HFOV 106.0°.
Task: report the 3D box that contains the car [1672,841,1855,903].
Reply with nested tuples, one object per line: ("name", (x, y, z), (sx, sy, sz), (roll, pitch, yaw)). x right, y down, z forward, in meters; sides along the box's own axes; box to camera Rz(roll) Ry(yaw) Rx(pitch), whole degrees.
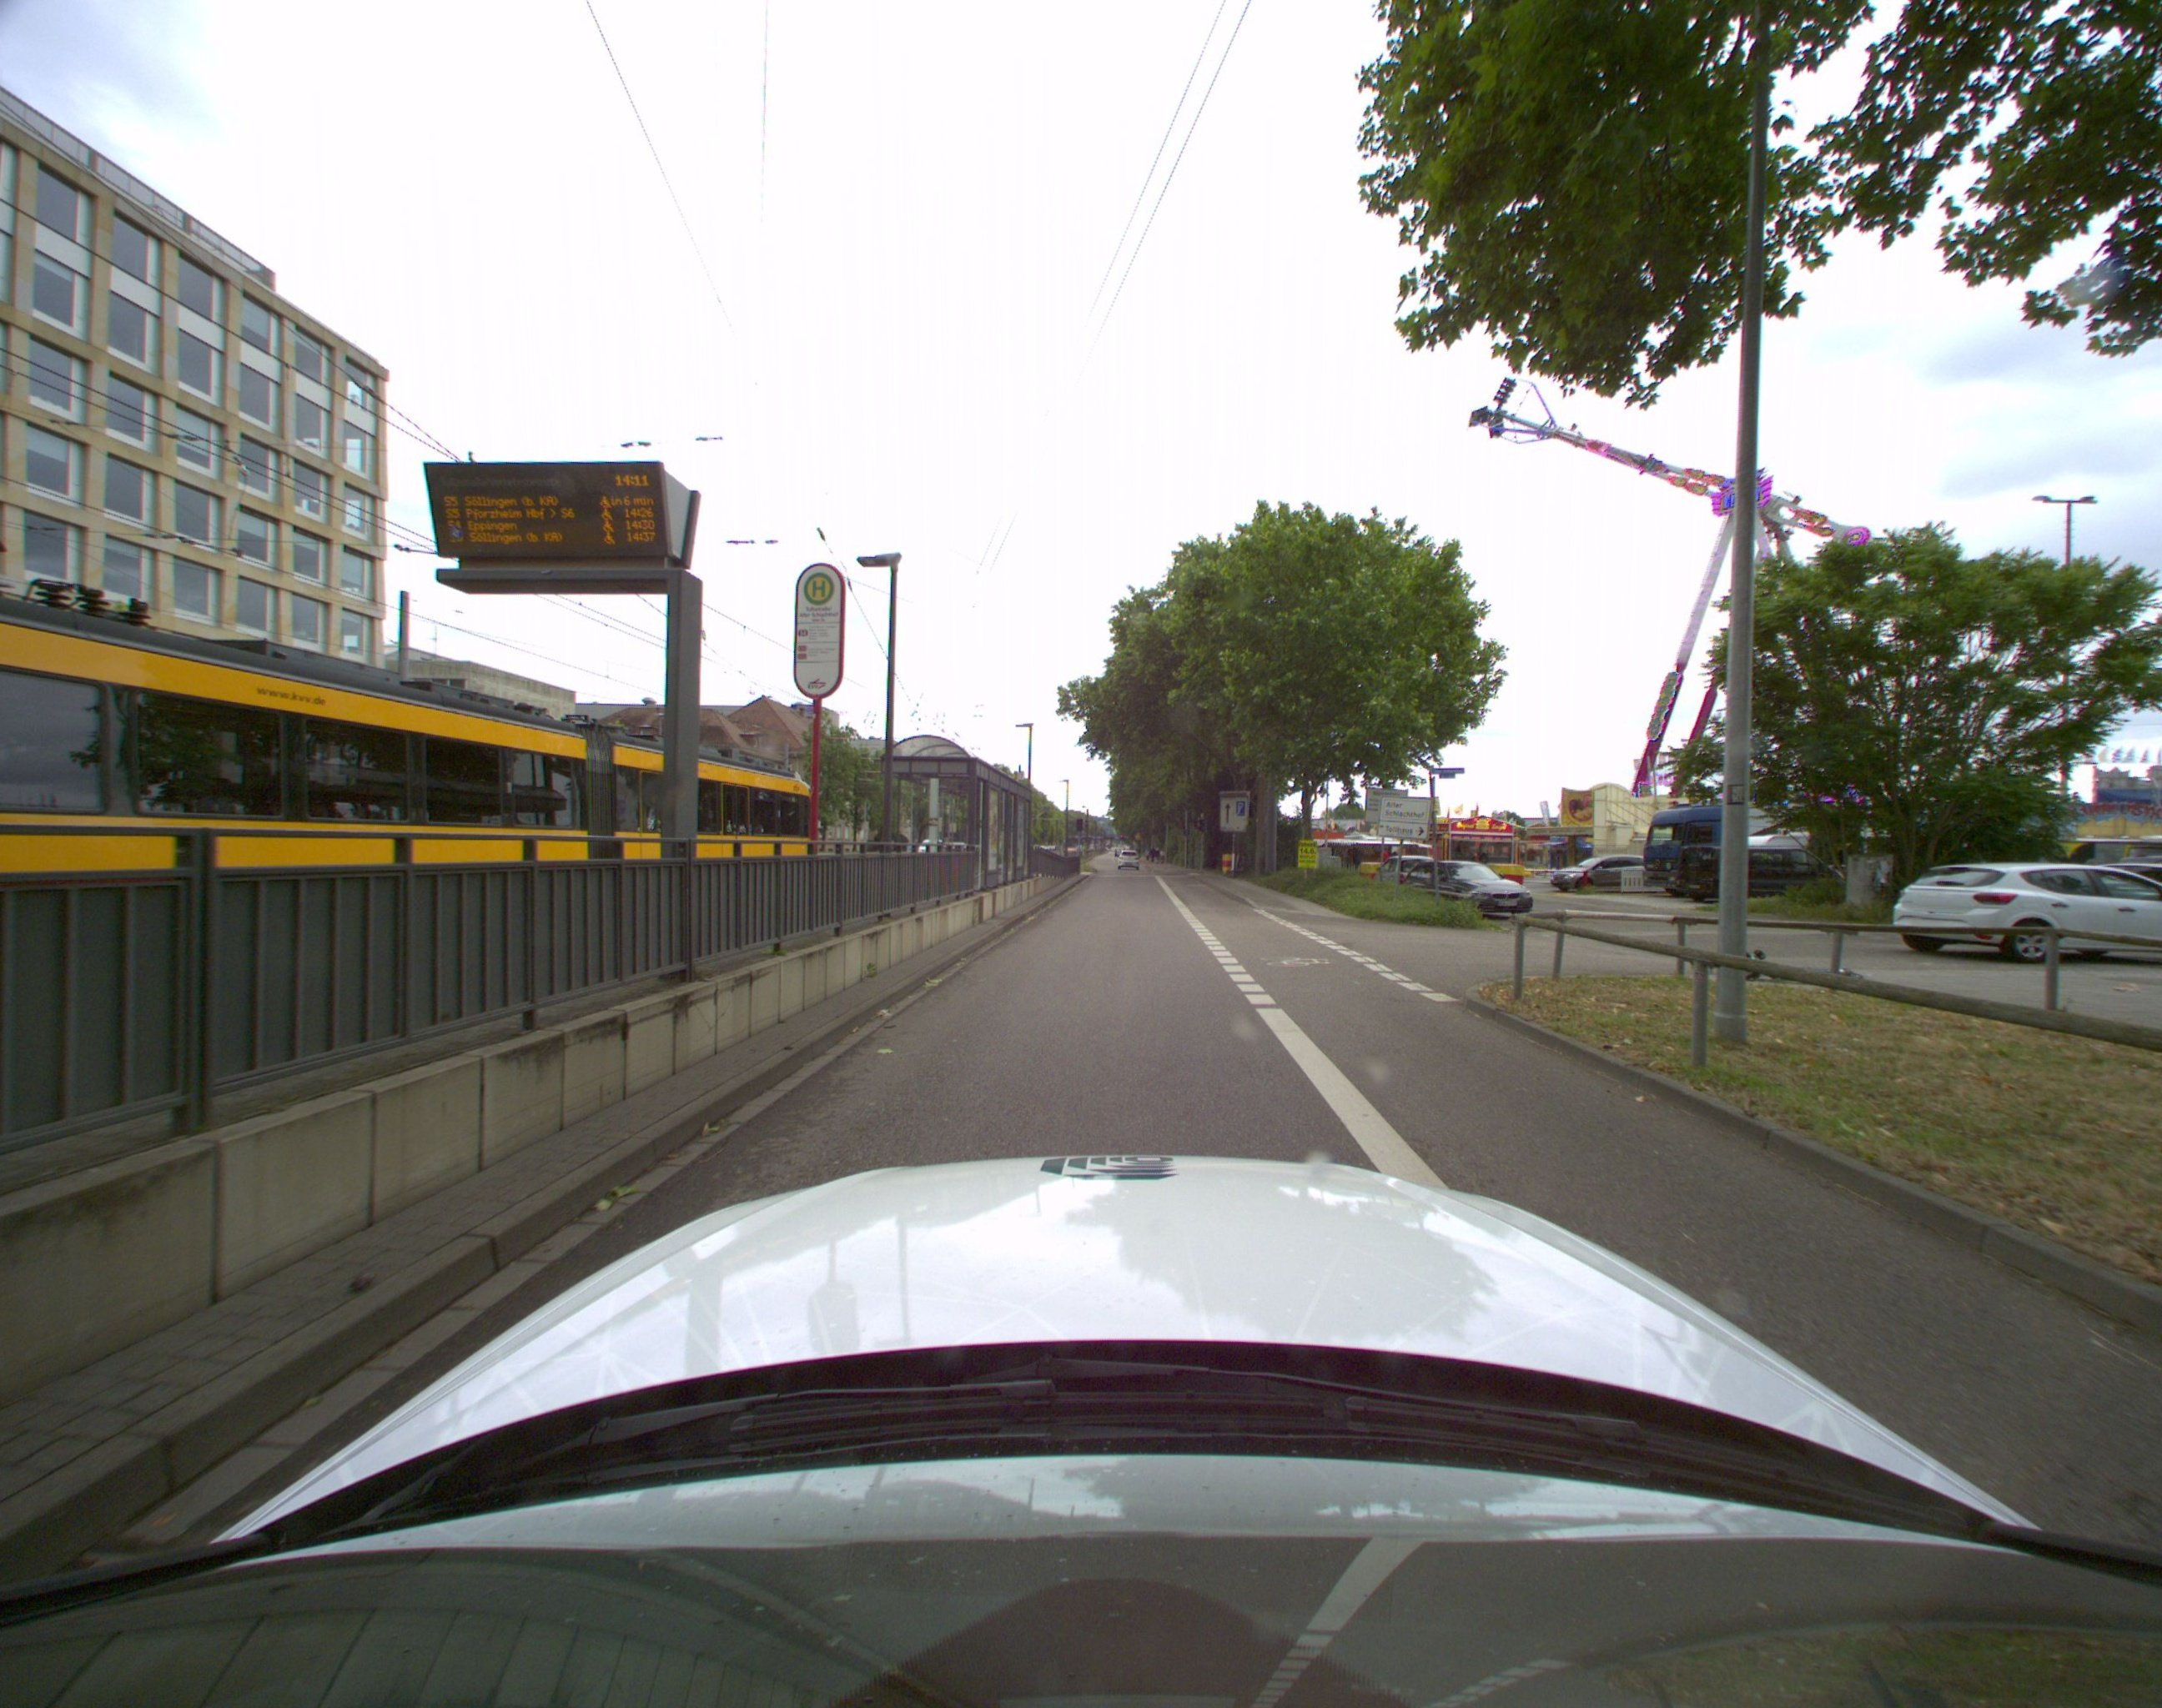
("car", (23.129, 0.562, 27.724), (4.557, 2.013, 2.001), (0, 1, 1))

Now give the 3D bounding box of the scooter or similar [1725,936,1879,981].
("scooter or similar", (9.067, 1.307, 10.330), (1.166, 0.349, 1.339), (-1, 0, 27))

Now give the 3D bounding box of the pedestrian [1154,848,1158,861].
("pedestrian", (8.223, 0.081, 89.573), (0.393, 1.444, 0.565), (1, 0, 12))

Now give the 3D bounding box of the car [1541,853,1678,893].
("car", (22.321, 0.774, 34.528), (4.556, 1.575, 2.001), (1, 0, 1))

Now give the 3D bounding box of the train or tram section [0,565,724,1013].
("train or tram section", (-11.318, -0.611, 13.831), (3.167, 4.179, 14.746), (1, 0, 3))

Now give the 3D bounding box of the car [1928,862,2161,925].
("car", (24.800, 0.944, 20.946), (1.879, 1.349, 4.001), (3, 0, 1))

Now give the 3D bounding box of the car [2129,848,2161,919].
("car", (29.601, 0.820, 20.300), (1.878, 1.879, 4.002), (1, 1, 2))

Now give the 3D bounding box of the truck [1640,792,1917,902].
("truck", (26.019, -0.251, 30.645), (8.160, 3.822, 2.601), (1, 0, 1))

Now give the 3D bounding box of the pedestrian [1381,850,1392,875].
("pedestrian", (18.313, 0.493, 48.817), (0.491, 1.463, 0.523), (1, 0, 0))

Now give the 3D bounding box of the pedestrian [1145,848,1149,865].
("pedestrian", (8.084, 0.310, 99.268), (0.392, 2.014, 0.404), (1, 0, 18))

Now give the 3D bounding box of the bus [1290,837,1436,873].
("bus", (19.035, 0.055, 55.284), (9.246, 2.227, 2.000), (1, 0, 0))

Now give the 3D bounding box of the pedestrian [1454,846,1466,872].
("pedestrian", (24.969, 0.336, 53.670), (0.491, 1.687, 0.523), (1, 0, 0))

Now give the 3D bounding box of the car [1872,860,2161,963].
("car", (15.454, 0.852, 12.851), (3.967, 1.453, 1.894), (1, 0, 5))

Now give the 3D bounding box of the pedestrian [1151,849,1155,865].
("pedestrian", (8.721, 0.360, 99.082), (0.392, 2.014, 0.404), (1, 0, 18))

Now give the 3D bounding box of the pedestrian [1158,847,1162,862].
("pedestrian", (8.677, 0.072, 89.504), (0.393, 1.585, 0.540), (1, 0, 12))

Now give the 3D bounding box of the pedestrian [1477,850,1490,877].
("pedestrian", (25.213, 0.608, 50.972), (0.522, 1.687, 0.492), (1, 0, -13))

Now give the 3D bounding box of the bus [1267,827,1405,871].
("bus", (18.209, -0.324, 58.366), (9.246, 2.960, 2.000), (1, 0, 0))

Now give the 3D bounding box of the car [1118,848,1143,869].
("car", (3.862, 0.356, 63.207), (1.832, 1.552, 4.005), (0, 0, 4))

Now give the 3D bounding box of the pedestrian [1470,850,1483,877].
("pedestrian", (24.498, 0.592, 50.445), (0.522, 1.687, 0.492), (1, 0, -13))

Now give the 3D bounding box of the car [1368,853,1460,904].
("car", (11.368, 0.793, 28.076), (1.854, 1.594, 4.006), (1, 0, 5))

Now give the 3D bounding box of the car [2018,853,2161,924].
("car", (27.021, 0.870, 20.666), (1.879, 1.644, 4.002), (2, 2, 1))

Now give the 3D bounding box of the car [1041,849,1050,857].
("car", (-8.209, -0.323, 188.905), (1.987, 1.794, 3.999), (1, 0, -1))

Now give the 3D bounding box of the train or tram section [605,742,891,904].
("train or tram section", (-10.416, -0.806, 28.608), (3.167, 4.179, 14.746), (1, 0, 3))

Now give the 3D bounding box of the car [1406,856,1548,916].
("car", (10.522, 0.800, 21.988), (1.858, 1.430, 3.998), (1, 0, -1))
